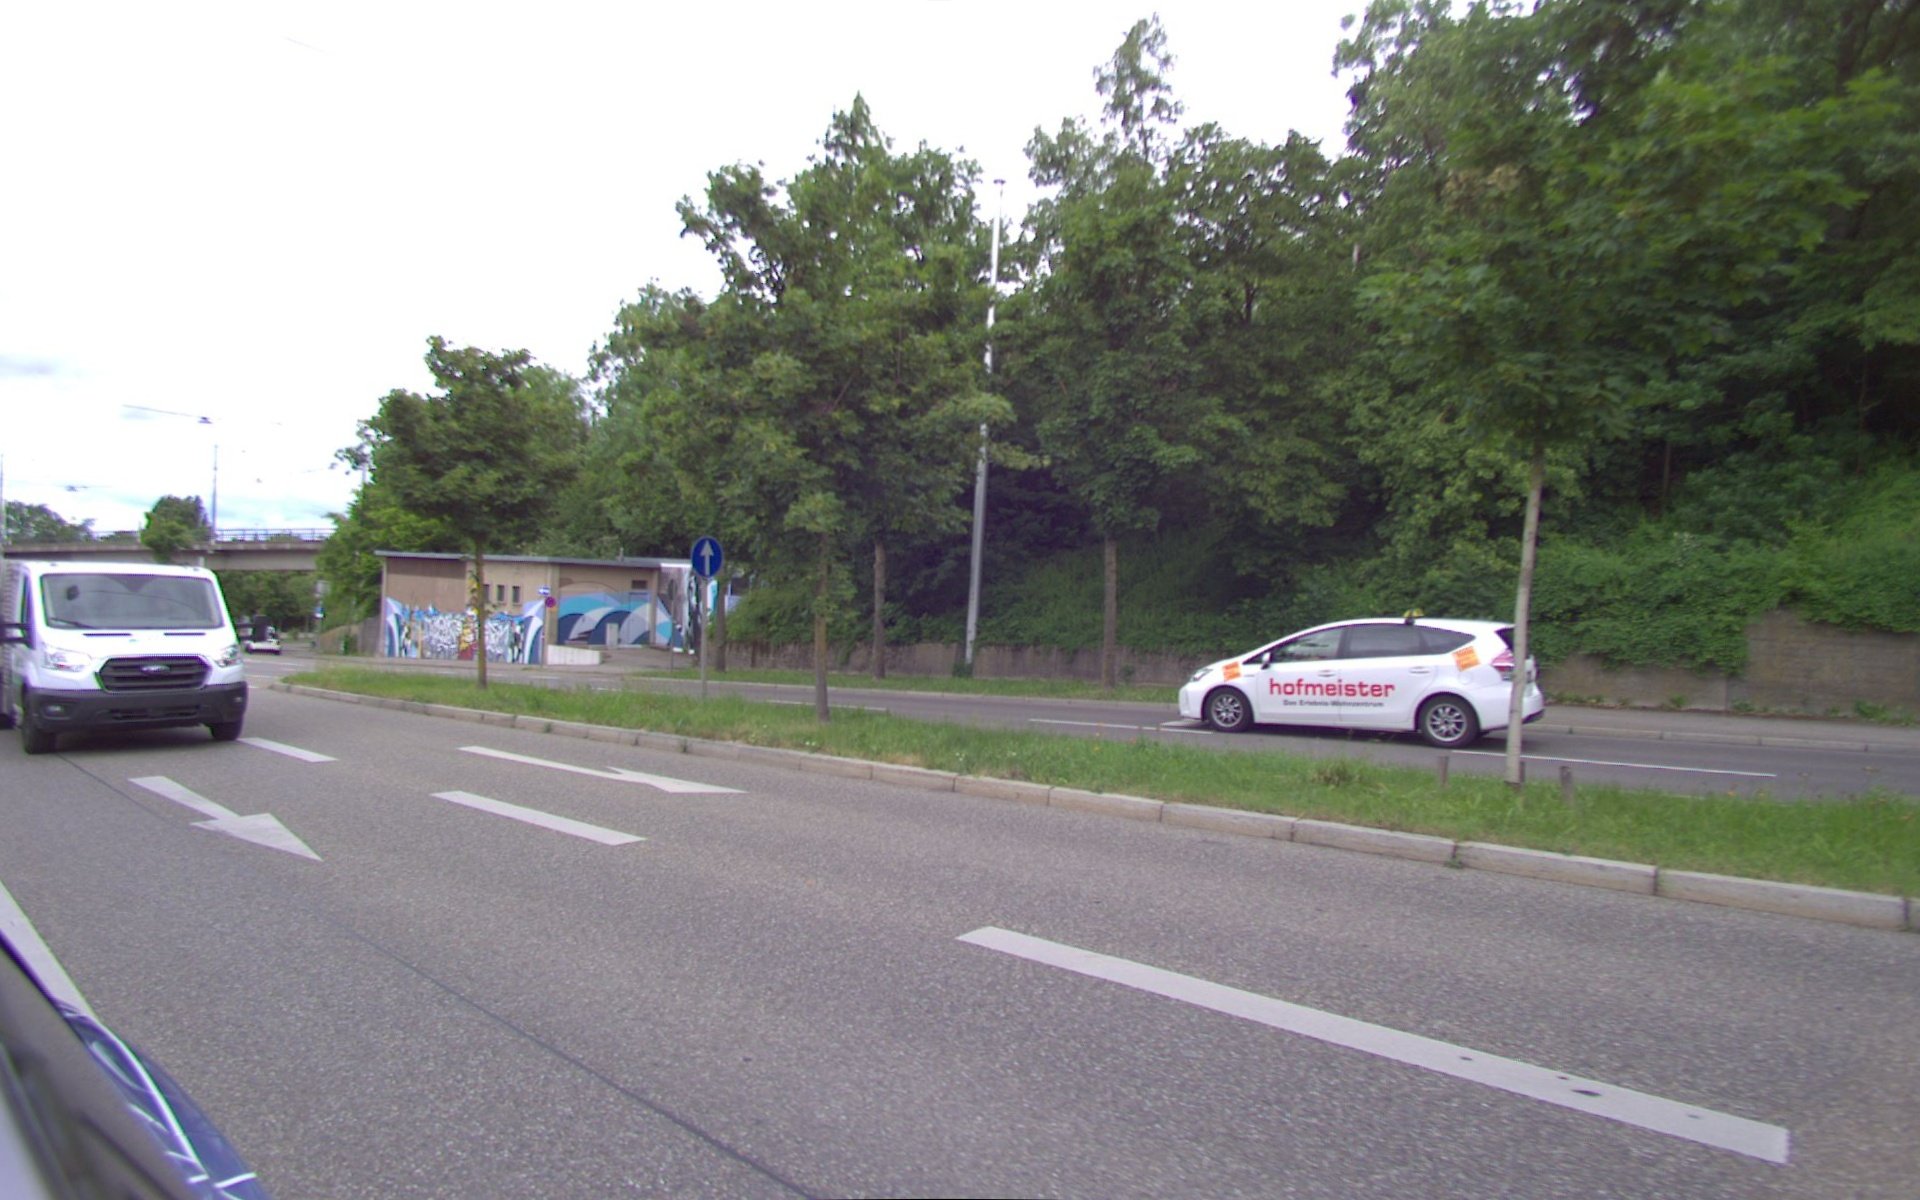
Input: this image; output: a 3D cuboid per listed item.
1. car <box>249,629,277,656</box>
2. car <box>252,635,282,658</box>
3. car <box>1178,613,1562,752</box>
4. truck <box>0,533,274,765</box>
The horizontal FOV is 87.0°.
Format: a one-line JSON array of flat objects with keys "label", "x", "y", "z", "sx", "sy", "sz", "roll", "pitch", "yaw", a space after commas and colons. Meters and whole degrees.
[{"label": "car", "x": -49.623, "y": 2.995, "z": 72.083, "sx": 1.610, "sy": 1.817, "sz": 4.010, "roll": 0, "pitch": -1, "yaw": -34}, {"label": "car", "x": -45.601, "y": 3.040, "z": 66.654, "sx": 1.610, "sy": 1.431, "sz": 4.010, "roll": 0, "pitch": -1, "yaw": -34}, {"label": "car", "x": 5.358, "y": 0.992, "z": 13.550, "sx": 4.452, "sy": 1.572, "sz": 1.763, "roll": -2, "pitch": -1, "yaw": 38}, {"label": "truck", "x": -11.144, "y": 0.538, "z": 13.057, "sx": 6.326, "sy": 2.339, "sz": 2.054, "roll": 0, "pitch": -2, "yaw": 39}]
